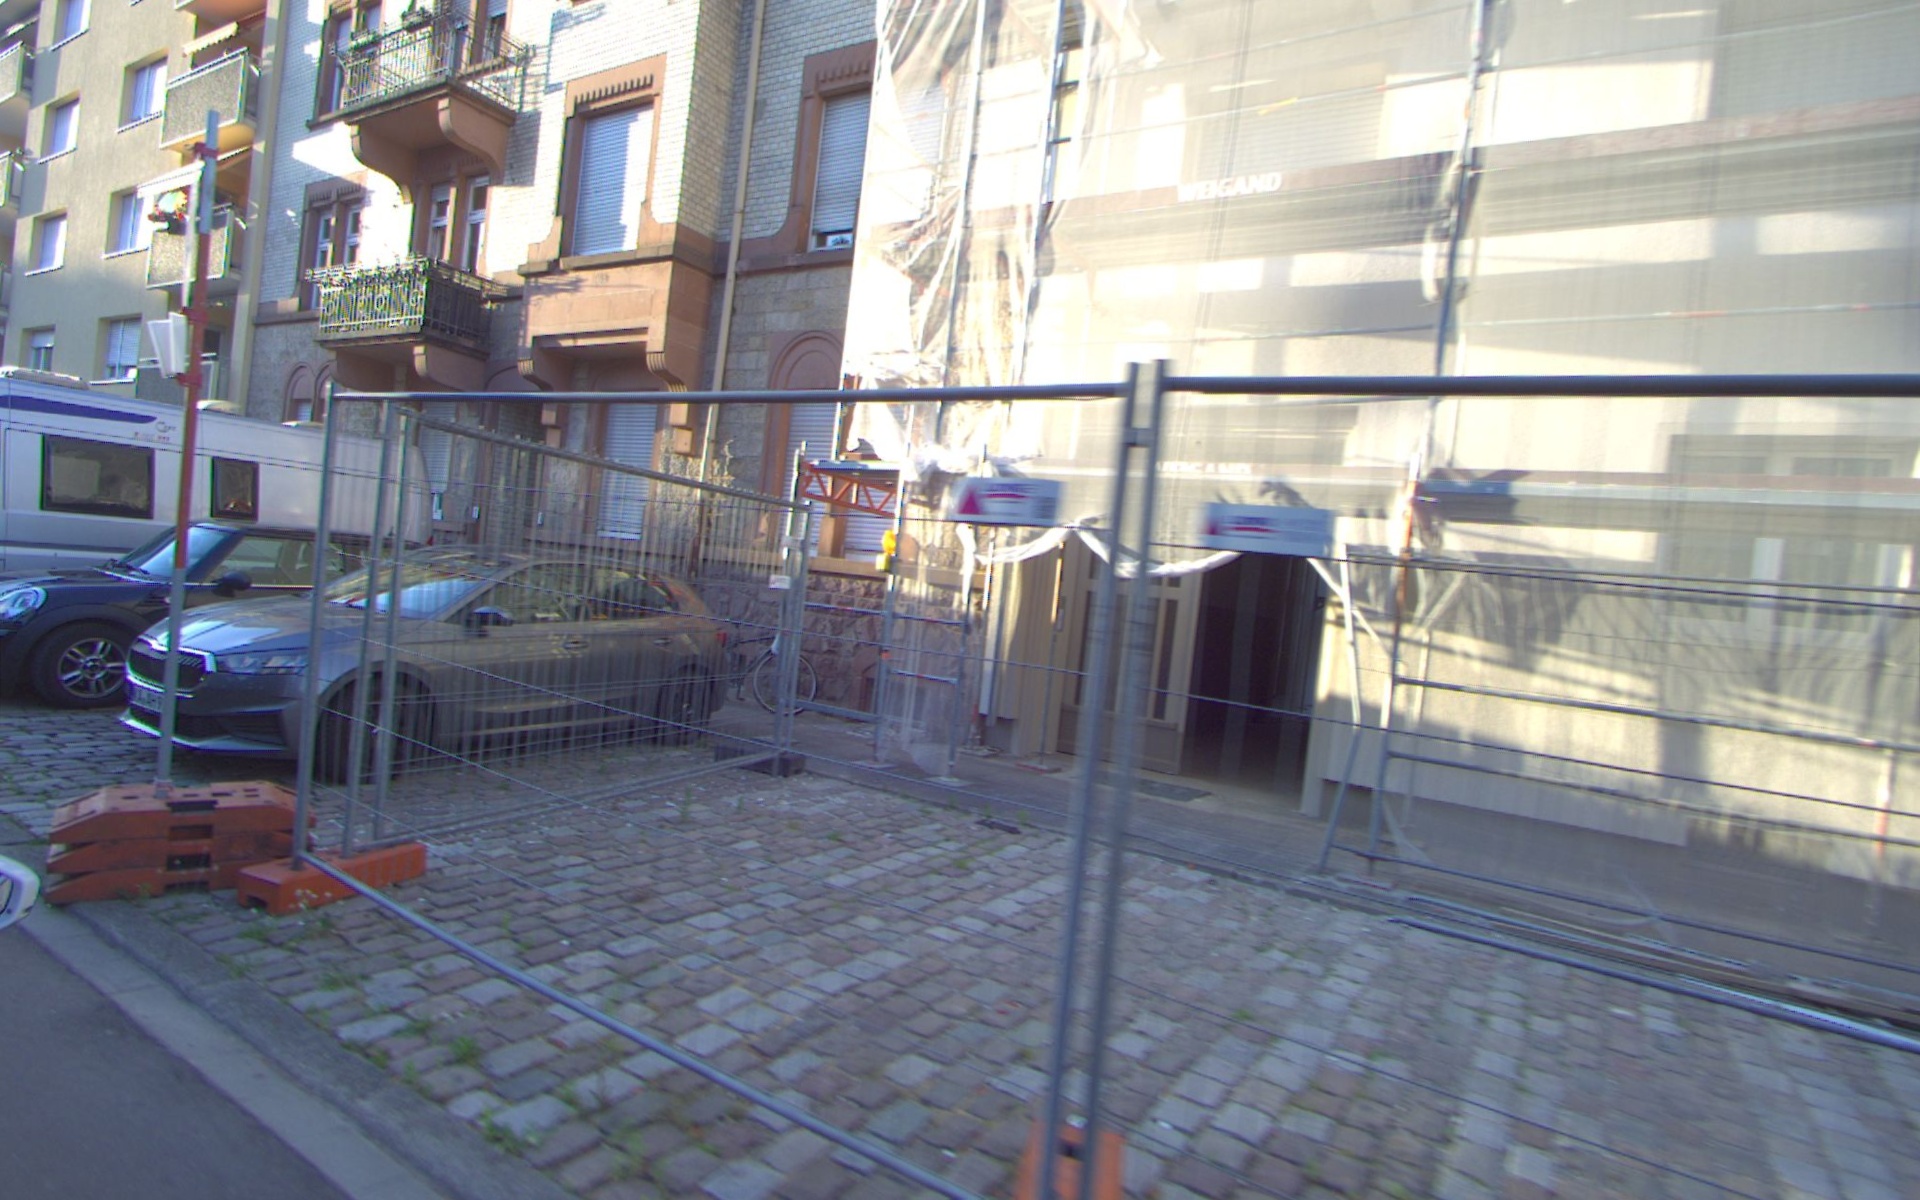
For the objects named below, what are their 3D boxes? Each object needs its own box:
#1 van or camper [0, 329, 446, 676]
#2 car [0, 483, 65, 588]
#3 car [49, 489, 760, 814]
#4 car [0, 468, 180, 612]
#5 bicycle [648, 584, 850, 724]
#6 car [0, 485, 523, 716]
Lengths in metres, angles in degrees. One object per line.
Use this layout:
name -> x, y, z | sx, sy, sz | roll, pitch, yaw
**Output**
van or camper -> -8.540, -0.873, 9.719 | 2.074, 2.802, 5.939 | 7, -1, 31
car -> -15.194, -1.049, 13.769 | 1.804, 1.473, 3.990 | 7, 2, 28
car -> -3.558, 0.254, 7.247 | 1.984, 1.536, 3.991 | 7, 2, 28
car -> -12.981, -0.880, 12.790 | 1.741, 1.750, 4.442 | 7, 1, 26
bicycle -> -2.226, 0.542, 10.558 | 1.999, 1.182, 0.632 | 7, 0, 26
car -> -6.028, 0.010, 8.472 | 1.758, 1.505, 3.934 | 5, 1, 33
